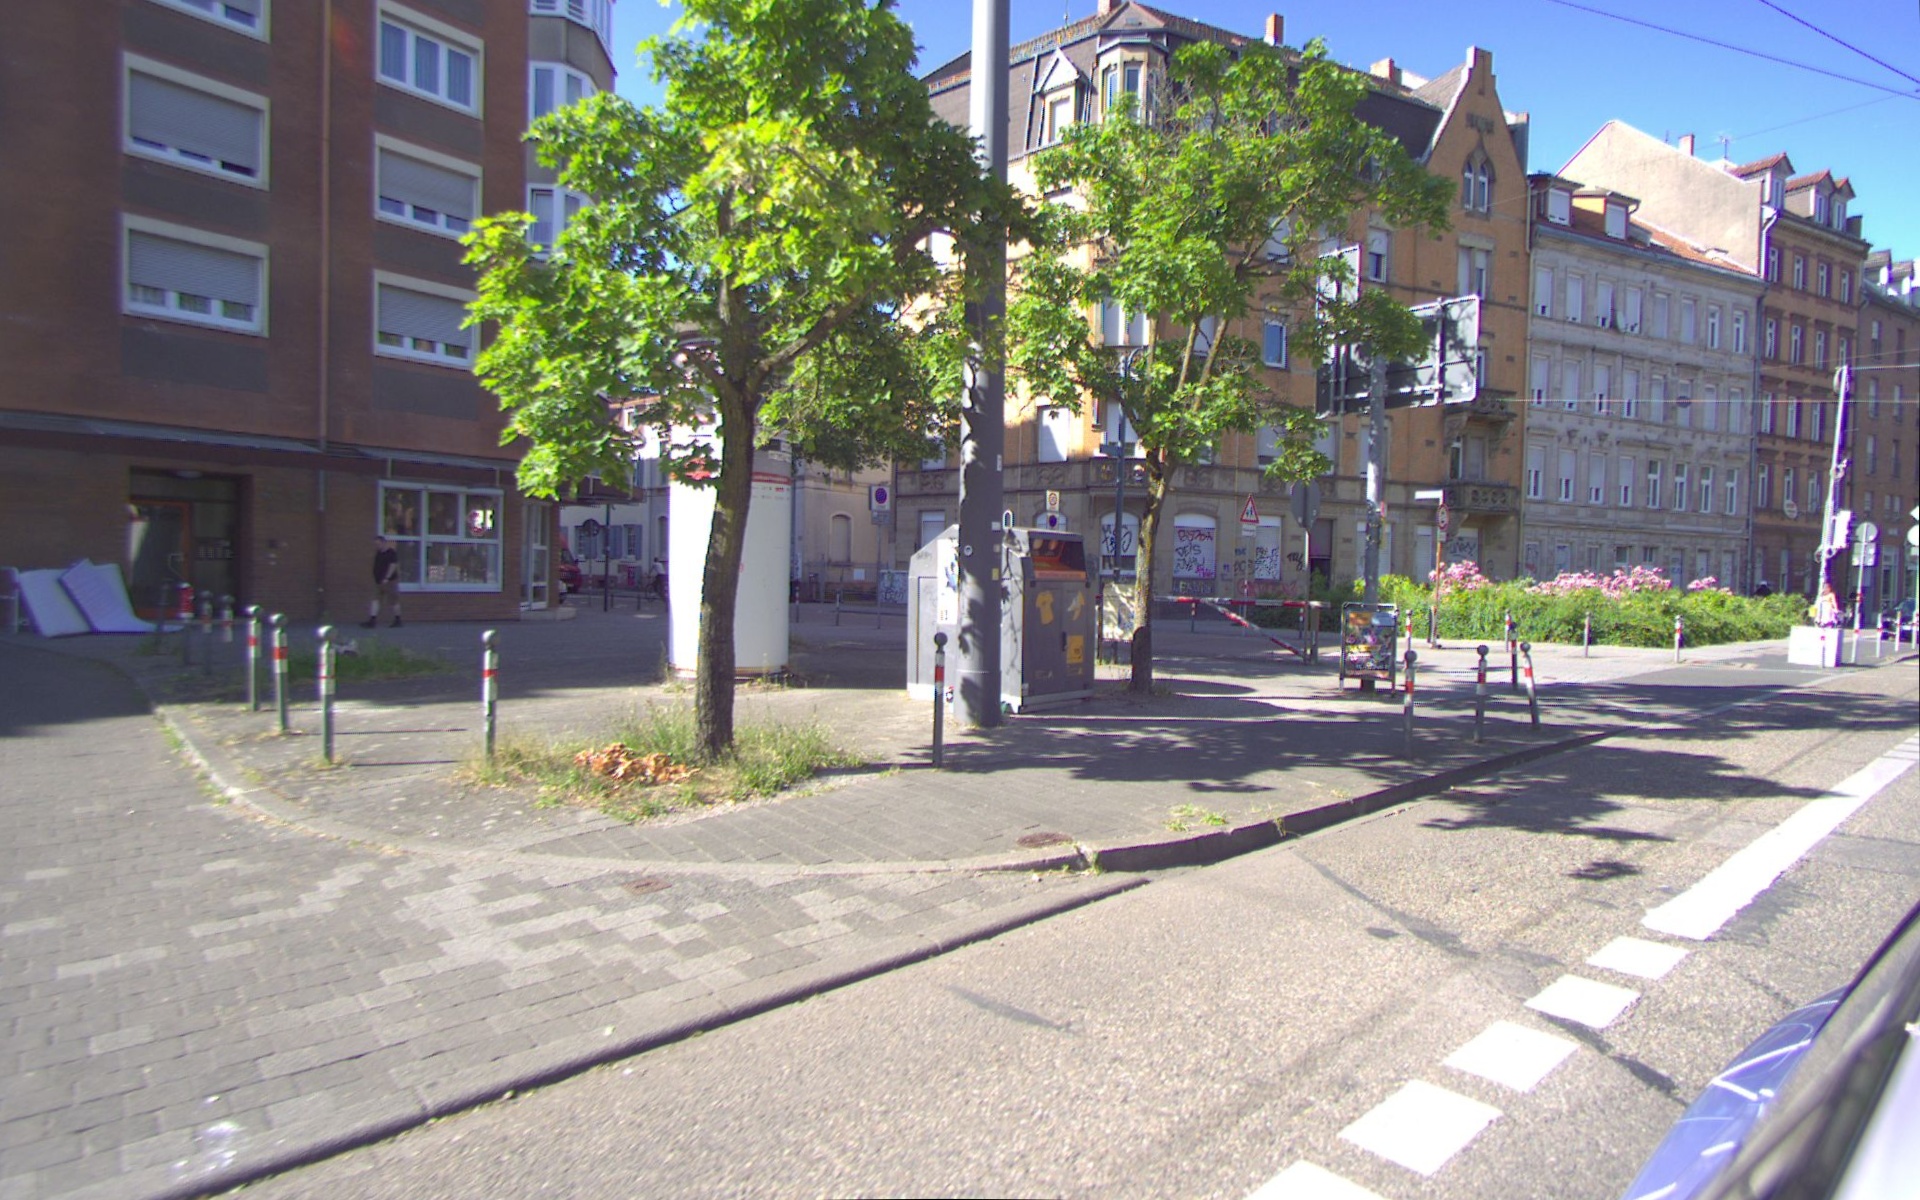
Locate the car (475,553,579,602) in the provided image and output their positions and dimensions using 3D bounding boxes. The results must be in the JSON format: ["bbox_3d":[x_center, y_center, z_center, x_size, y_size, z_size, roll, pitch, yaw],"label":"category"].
[{"bbox_3d":[-15.478,-0.824,36.077,3.984,1.593,1.823,4,2,41],"label":"car"}]

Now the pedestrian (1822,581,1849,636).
[{"bbox_3d":[27.900,0.268,32.263,0.548,1.697,0.679,3,2,37],"label":"pedestrian"}]

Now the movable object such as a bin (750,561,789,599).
[{"bbox_3d":[-7.706,-0.821,40.951,1.214,1.462,1.019,3,2,42],"label":"movable object such as a bin"}]

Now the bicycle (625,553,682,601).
[{"bbox_3d":[-11.534,-0.870,38.055,2.131,1.701,0.995,3,2,39],"label":"bicycle"}]

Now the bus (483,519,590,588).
[{"bbox_3d":[-20.391,-2.238,48.570,6.246,3.105,2.386,4,2,43],"label":"bus"}]

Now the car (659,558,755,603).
[{"bbox_3d":[-9.910,-0.780,39.528,3.983,1.563,1.612,3,2,40],"label":"car"}]

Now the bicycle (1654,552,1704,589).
[{"bbox_3d":[26.902,-1.104,37.851,2.198,1.302,0.956,0,2,-40],"label":"bicycle"}]

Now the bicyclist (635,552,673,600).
[{"bbox_3d":[-11.509,-0.892,38.053,1.045,1.746,0.907,3,2,38],"label":"bicyclist"}]

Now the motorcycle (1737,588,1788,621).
[{"bbox_3d":[34.125,0.178,43.042,1.623,1.332,0.707,3,2,37],"label":"motorcycle"}]

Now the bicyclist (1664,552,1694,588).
[{"bbox_3d":[26.863,-1.122,37.827,0.847,1.302,0.693,1,2,-41],"label":"bicyclist"}]

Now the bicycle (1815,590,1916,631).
[{"bbox_3d":[35.407,0.386,39.496,6.705,1.433,1.969,0,2,-40],"label":"bicycle"}]

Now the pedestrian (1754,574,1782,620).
[{"bbox_3d":[34.270,-0.137,42.932,0.817,1.885,0.694,3,2,37],"label":"pedestrian"}]

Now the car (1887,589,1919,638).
[{"bbox_3d":[31.007,0.436,32.268,3.930,1.502,1.682,0,2,-41],"label":"car"}]

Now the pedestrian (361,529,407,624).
[{"bbox_3d":[-11.073,-0.451,19.450,0.631,1.782,0.592,0,2,-43],"label":"pedestrian"}]

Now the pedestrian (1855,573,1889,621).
[{"bbox_3d":[39.665,-0.129,44.013,1.345,2.038,0.844,1,2,-40],"label":"pedestrian"}]
